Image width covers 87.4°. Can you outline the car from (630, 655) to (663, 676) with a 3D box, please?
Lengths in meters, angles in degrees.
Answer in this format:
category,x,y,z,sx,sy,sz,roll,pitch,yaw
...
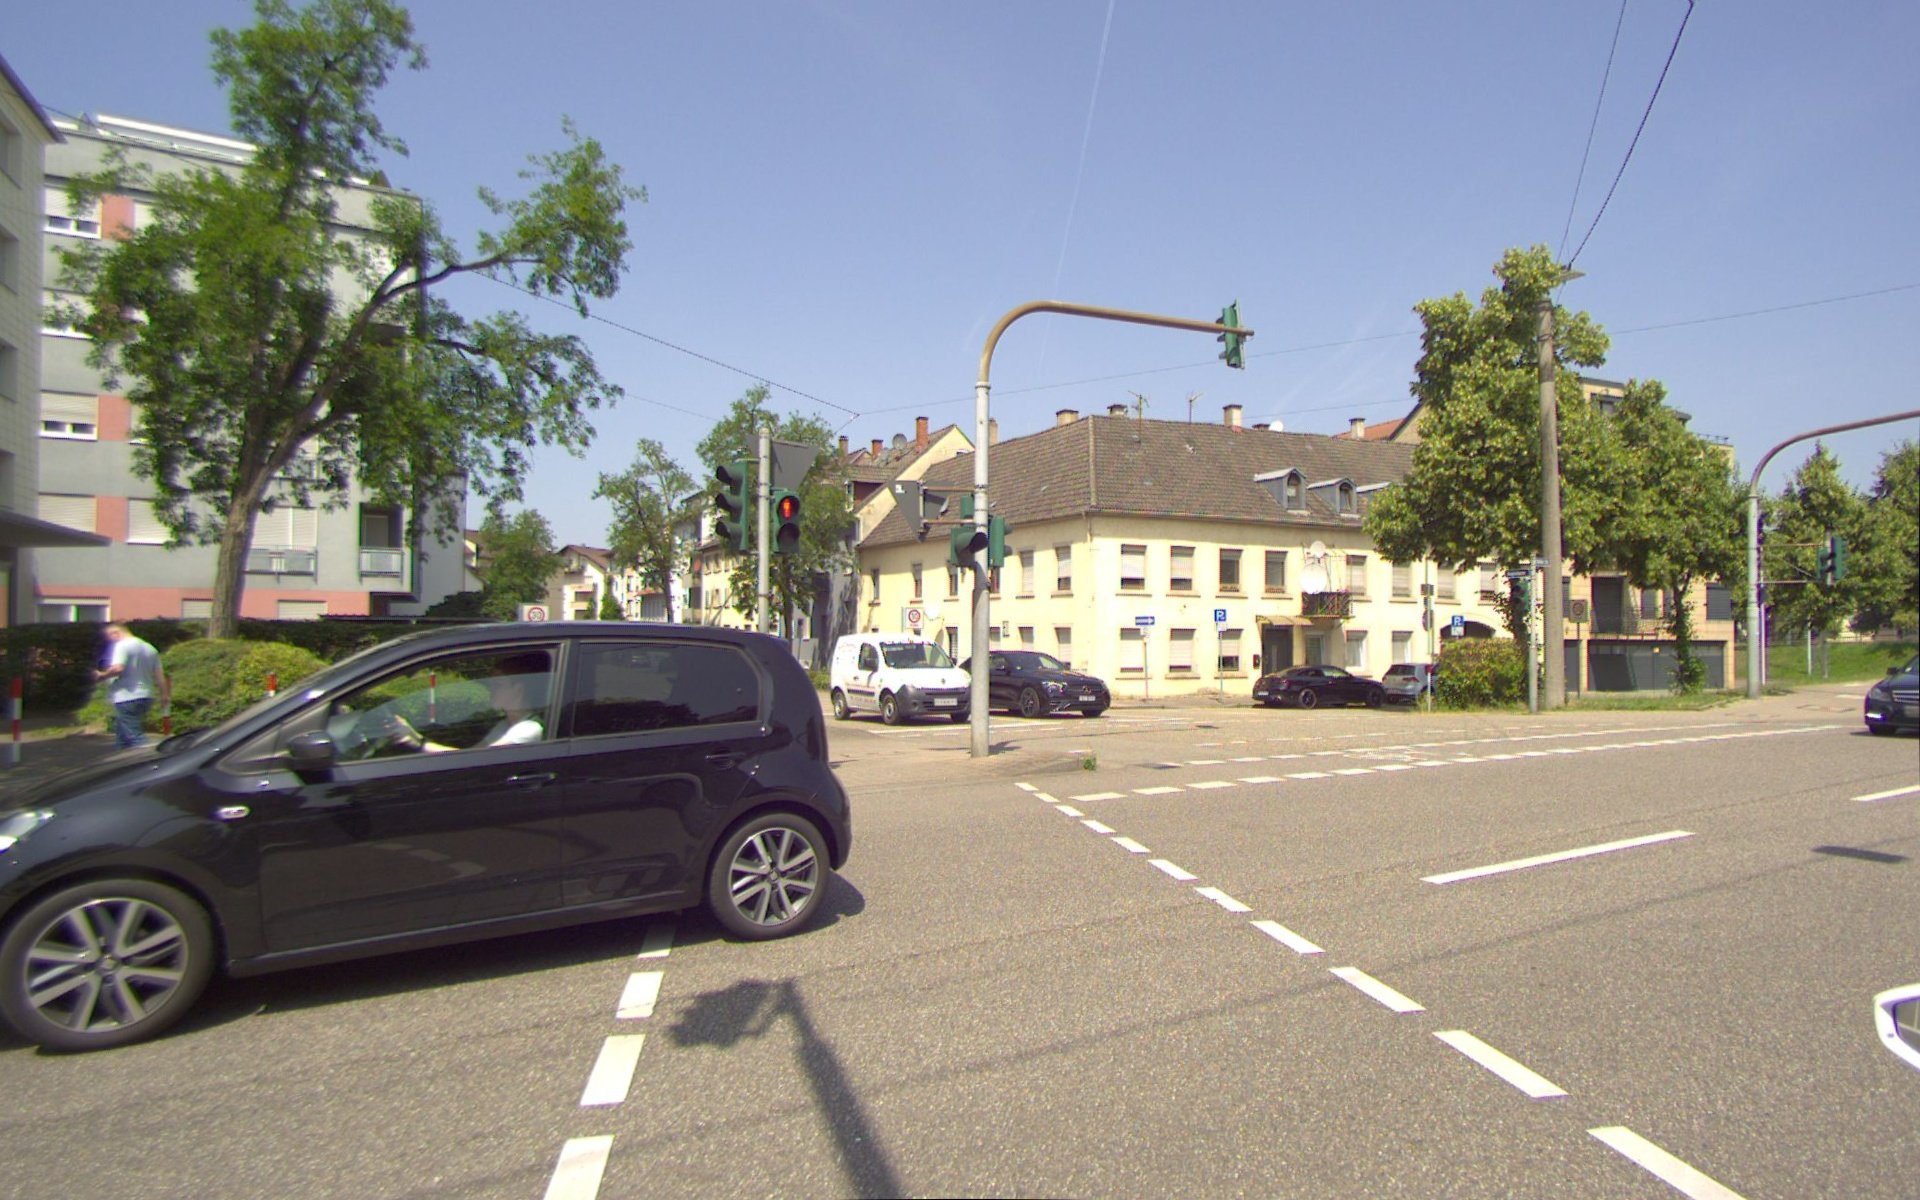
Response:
category,x,y,z,sx,sy,sz,roll,pitch,yaw
car,-26.029,5.402,83.231,1.814,1.425,4.297,1,0,-28

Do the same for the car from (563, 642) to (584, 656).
category,x,y,z,sx,sy,sz,roll,pitch,yaw
car,-45.177,5.675,117.351,1.814,1.425,4.297,1,0,-28

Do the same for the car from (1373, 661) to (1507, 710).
category,x,y,z,sx,sy,sz,roll,pitch,yaw
car,16.860,2.961,35.266,4.365,1.451,1.772,0,-1,-23

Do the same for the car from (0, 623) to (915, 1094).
category,x,y,z,sx,sy,sz,roll,pitch,yaw
car,-2.196,0.859,4.699,3.668,1.475,1.607,0,-1,-32

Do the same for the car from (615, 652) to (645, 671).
category,x,y,z,sx,sy,sz,roll,pitch,yaw
car,-29.237,5.387,88.864,1.814,1.425,4.297,1,0,-28

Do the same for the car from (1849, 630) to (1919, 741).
category,x,y,z,sx,sy,sz,roll,pitch,yaw
car,15.641,1.261,15.416,4.268,1.580,1.747,1,-3,-31

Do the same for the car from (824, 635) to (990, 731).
category,x,y,z,sx,sy,sz,roll,pitch,yaw
car,-1.167,1.652,20.423,1.872,1.757,3.668,1,-4,-31

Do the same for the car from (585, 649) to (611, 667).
category,x,y,z,sx,sy,sz,roll,pitch,yaw
car,-33.626,5.339,93.197,1.692,1.425,4.051,1,0,-28

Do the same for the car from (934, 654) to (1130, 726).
category,x,y,z,sx,sy,sz,roll,pitch,yaw
car,1.481,1.987,22.661,2.094,1.419,4.580,1,-4,-33

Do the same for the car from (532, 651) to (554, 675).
category,x,y,z,sx,sy,sz,roll,pitch,yaw
car,-32.710,4.893,78.830,1.526,1.694,3.235,1,0,-23

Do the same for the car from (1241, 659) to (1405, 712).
category,x,y,z,sx,sy,sz,roll,pitch,yaw
car,12.008,2.783,33.202,5.210,1.649,1.812,1,-4,-23

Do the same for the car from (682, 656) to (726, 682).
category,x,y,z,sx,sy,sz,roll,pitch,yaw
car,-16.771,4.463,65.665,1.814,1.425,4.297,1,0,-28

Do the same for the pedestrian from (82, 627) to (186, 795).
category,x,y,z,sx,sy,sz,roll,pitch,yaw
pedestrian,-9.138,1.199,11.147,0.734,1.783,0.624,2,-2,-30
